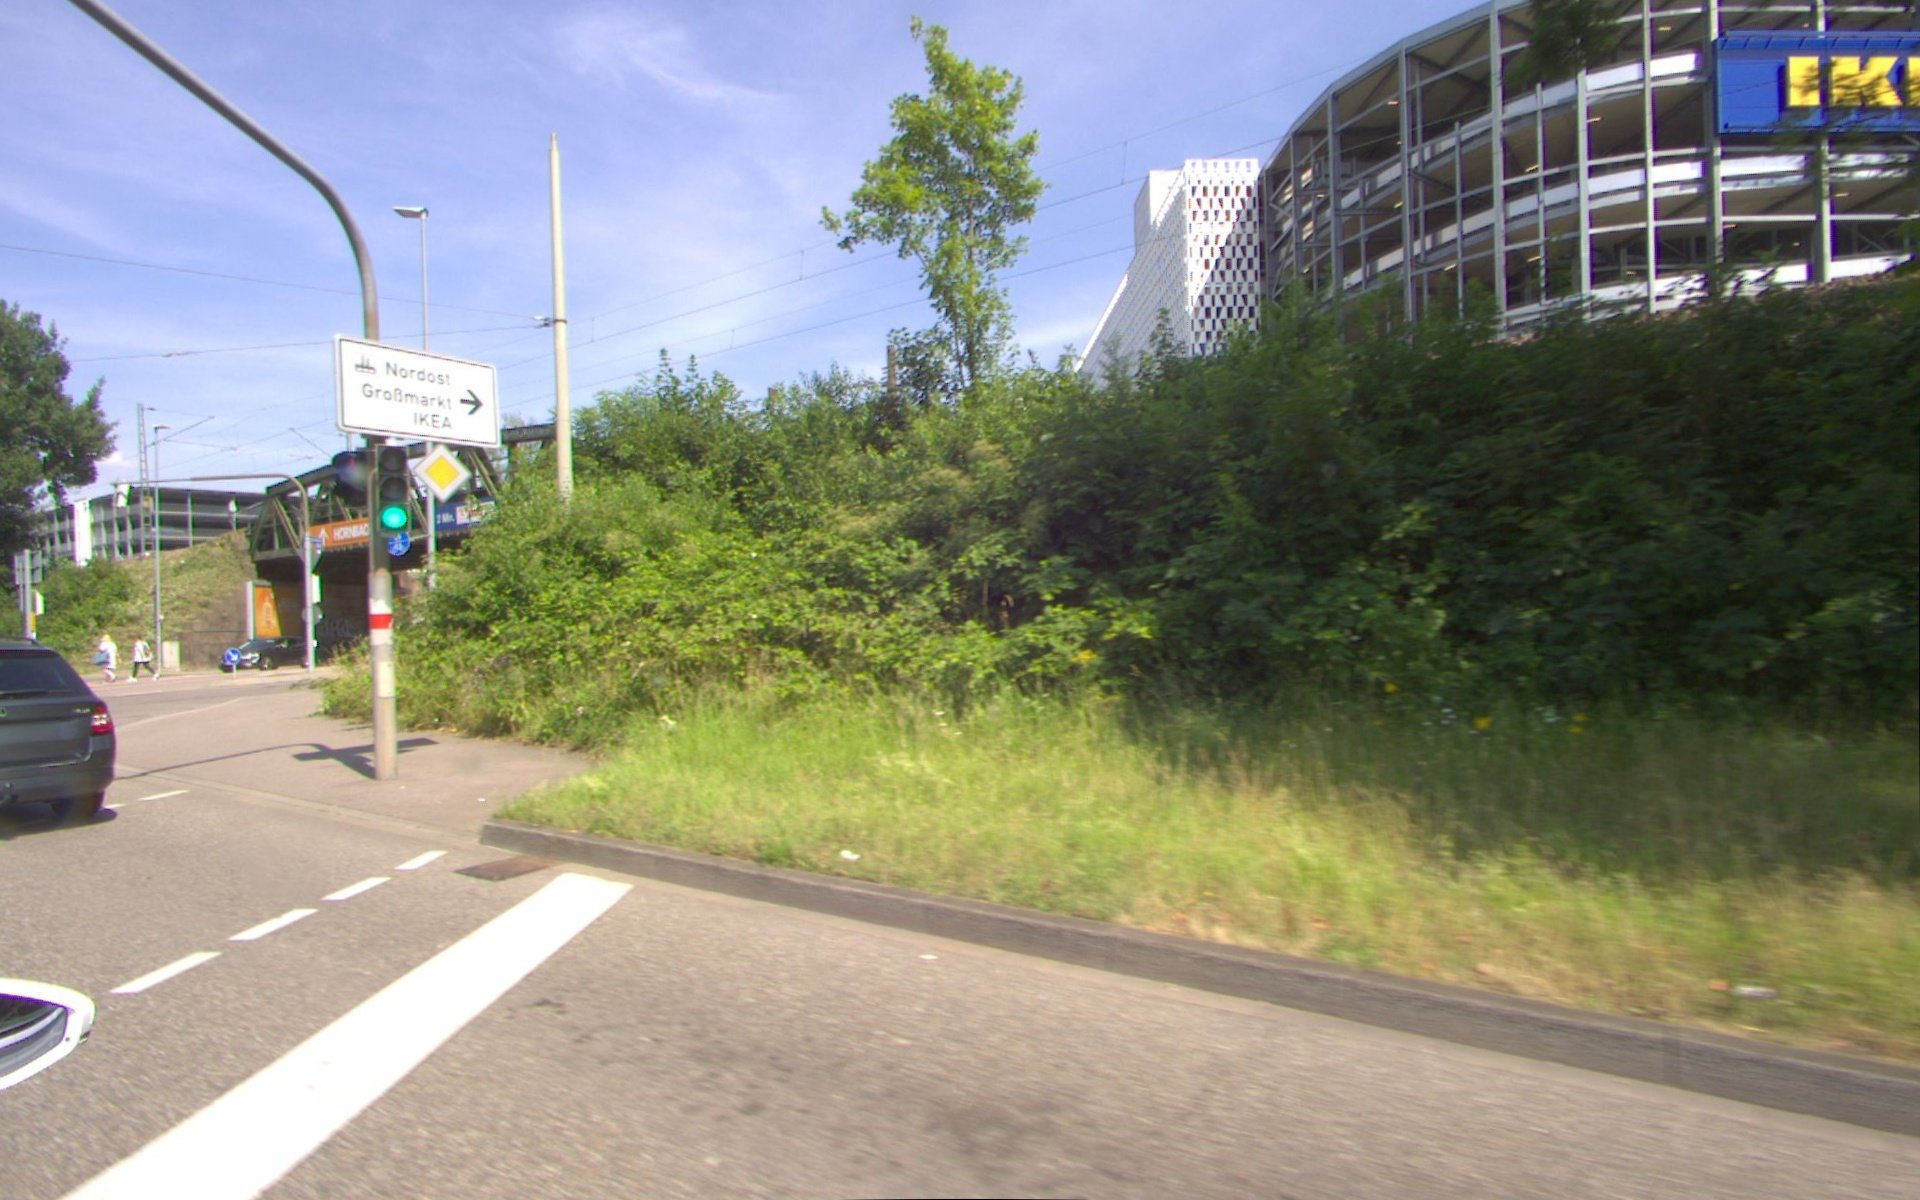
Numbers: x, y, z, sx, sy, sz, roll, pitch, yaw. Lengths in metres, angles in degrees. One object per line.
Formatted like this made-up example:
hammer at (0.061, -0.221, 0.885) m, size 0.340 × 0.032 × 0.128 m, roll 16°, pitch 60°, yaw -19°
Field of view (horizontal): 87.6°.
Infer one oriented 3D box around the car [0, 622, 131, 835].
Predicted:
car at (-8.384, 0.931, 7.929) m, size 3.979 × 1.472 × 1.671 m, roll -1°, pitch -2°, yaw 32°

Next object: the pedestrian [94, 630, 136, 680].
pedestrian at (-28.258, 1.838, 33.499) m, size 0.766 × 1.633 × 0.866 m, roll -1°, pitch 0°, yaw 33°

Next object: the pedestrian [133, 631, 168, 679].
pedestrian at (-27.714, 1.860, 34.294) m, size 0.766 × 1.600 × 0.727 m, roll -1°, pitch 0°, yaw 33°

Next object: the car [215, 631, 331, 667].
car at (-30.263, 2.122, 44.302) m, size 1.961 × 1.427 × 4.502 m, roll -1°, pitch -1°, yaw 0°
